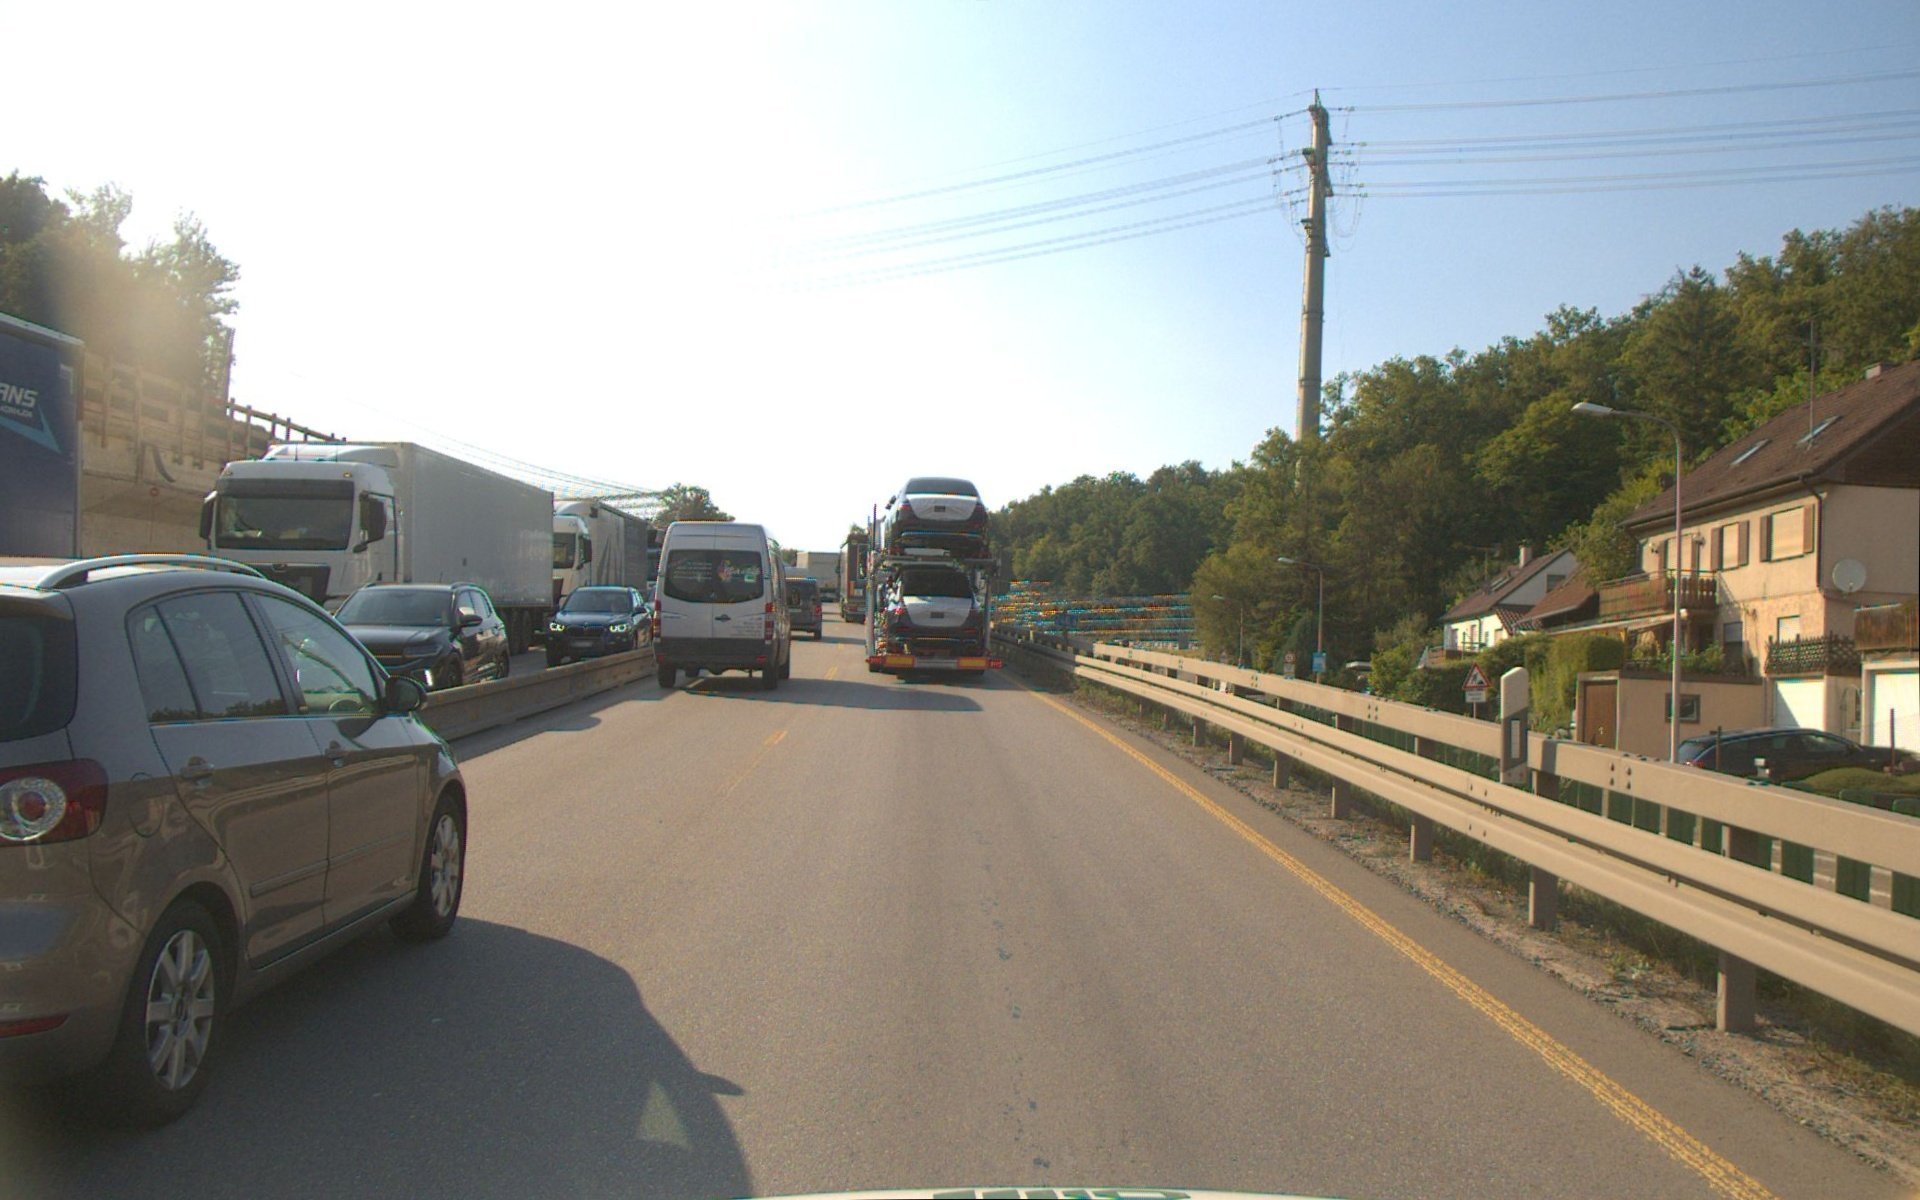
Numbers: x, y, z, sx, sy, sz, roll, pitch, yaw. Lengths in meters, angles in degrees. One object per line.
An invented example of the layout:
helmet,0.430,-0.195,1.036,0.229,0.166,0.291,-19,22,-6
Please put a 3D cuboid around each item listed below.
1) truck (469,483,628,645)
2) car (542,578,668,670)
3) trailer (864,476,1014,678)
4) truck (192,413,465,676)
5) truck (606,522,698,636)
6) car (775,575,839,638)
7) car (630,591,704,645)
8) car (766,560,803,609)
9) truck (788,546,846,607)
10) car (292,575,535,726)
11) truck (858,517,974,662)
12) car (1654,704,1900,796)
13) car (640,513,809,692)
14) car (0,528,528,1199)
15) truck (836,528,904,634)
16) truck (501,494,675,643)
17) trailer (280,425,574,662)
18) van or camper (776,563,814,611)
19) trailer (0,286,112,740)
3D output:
truck,-12.016,-0.985,49.007,2.924,4.225,7.388,4,0,-3
car,-7.493,0.516,35.258,1.770,1.713,3.999,4,-1,-1
trailer,-0.810,-0.306,37.848,2.629,3.596,15.277,2,-1,-3
truck,-10.939,-0.828,29.356,2.655,4.165,6.200,0,-1,-3
truck,-12.972,-0.821,70.188,2.387,4.431,7.516,3,0,-1
car,-5.211,0.254,56.719,1.772,1.937,3.999,4,-1,-1
car,-8.930,0.543,50.561,1.679,1.503,3.510,3,0,-2
car,-19.493,-1.709,183.515,3.381,5.122,9.635,4,0,-8
truck,-12.321,-1.921,141.256,3.990,4.761,10.570,3,0,-9
car,-6.598,0.593,20.417,1.628,1.556,3.999,4,-1,-1
truck,-1.337,-0.216,45.732,2.631,3.596,7.184,2,-1,-5
car,16.124,2.945,32.782,3.907,1.467,1.890,4,-3,-1
car,-3.923,0.041,28.555,1.953,2.694,5.530,3,0,1
car,-2.936,0.600,5.885,1.646,1.616,4.272,2,1,0
truck,-4.236,-0.862,78.971,2.849,4.687,7.282,3,0,-2
truck,-12.391,-0.922,56.984,2.924,4.225,15.845,4,0,-3
trailer,-11.243,-0.939,36.647,2.656,4.164,12.561,4,-1,-3
van or camper,-9.783,-0.746,98.501,1.930,2.636,5.037,4,-1,-4
trailer,-10.015,-0.785,12.583,2.554,4.184,9.622,0,0,-3
